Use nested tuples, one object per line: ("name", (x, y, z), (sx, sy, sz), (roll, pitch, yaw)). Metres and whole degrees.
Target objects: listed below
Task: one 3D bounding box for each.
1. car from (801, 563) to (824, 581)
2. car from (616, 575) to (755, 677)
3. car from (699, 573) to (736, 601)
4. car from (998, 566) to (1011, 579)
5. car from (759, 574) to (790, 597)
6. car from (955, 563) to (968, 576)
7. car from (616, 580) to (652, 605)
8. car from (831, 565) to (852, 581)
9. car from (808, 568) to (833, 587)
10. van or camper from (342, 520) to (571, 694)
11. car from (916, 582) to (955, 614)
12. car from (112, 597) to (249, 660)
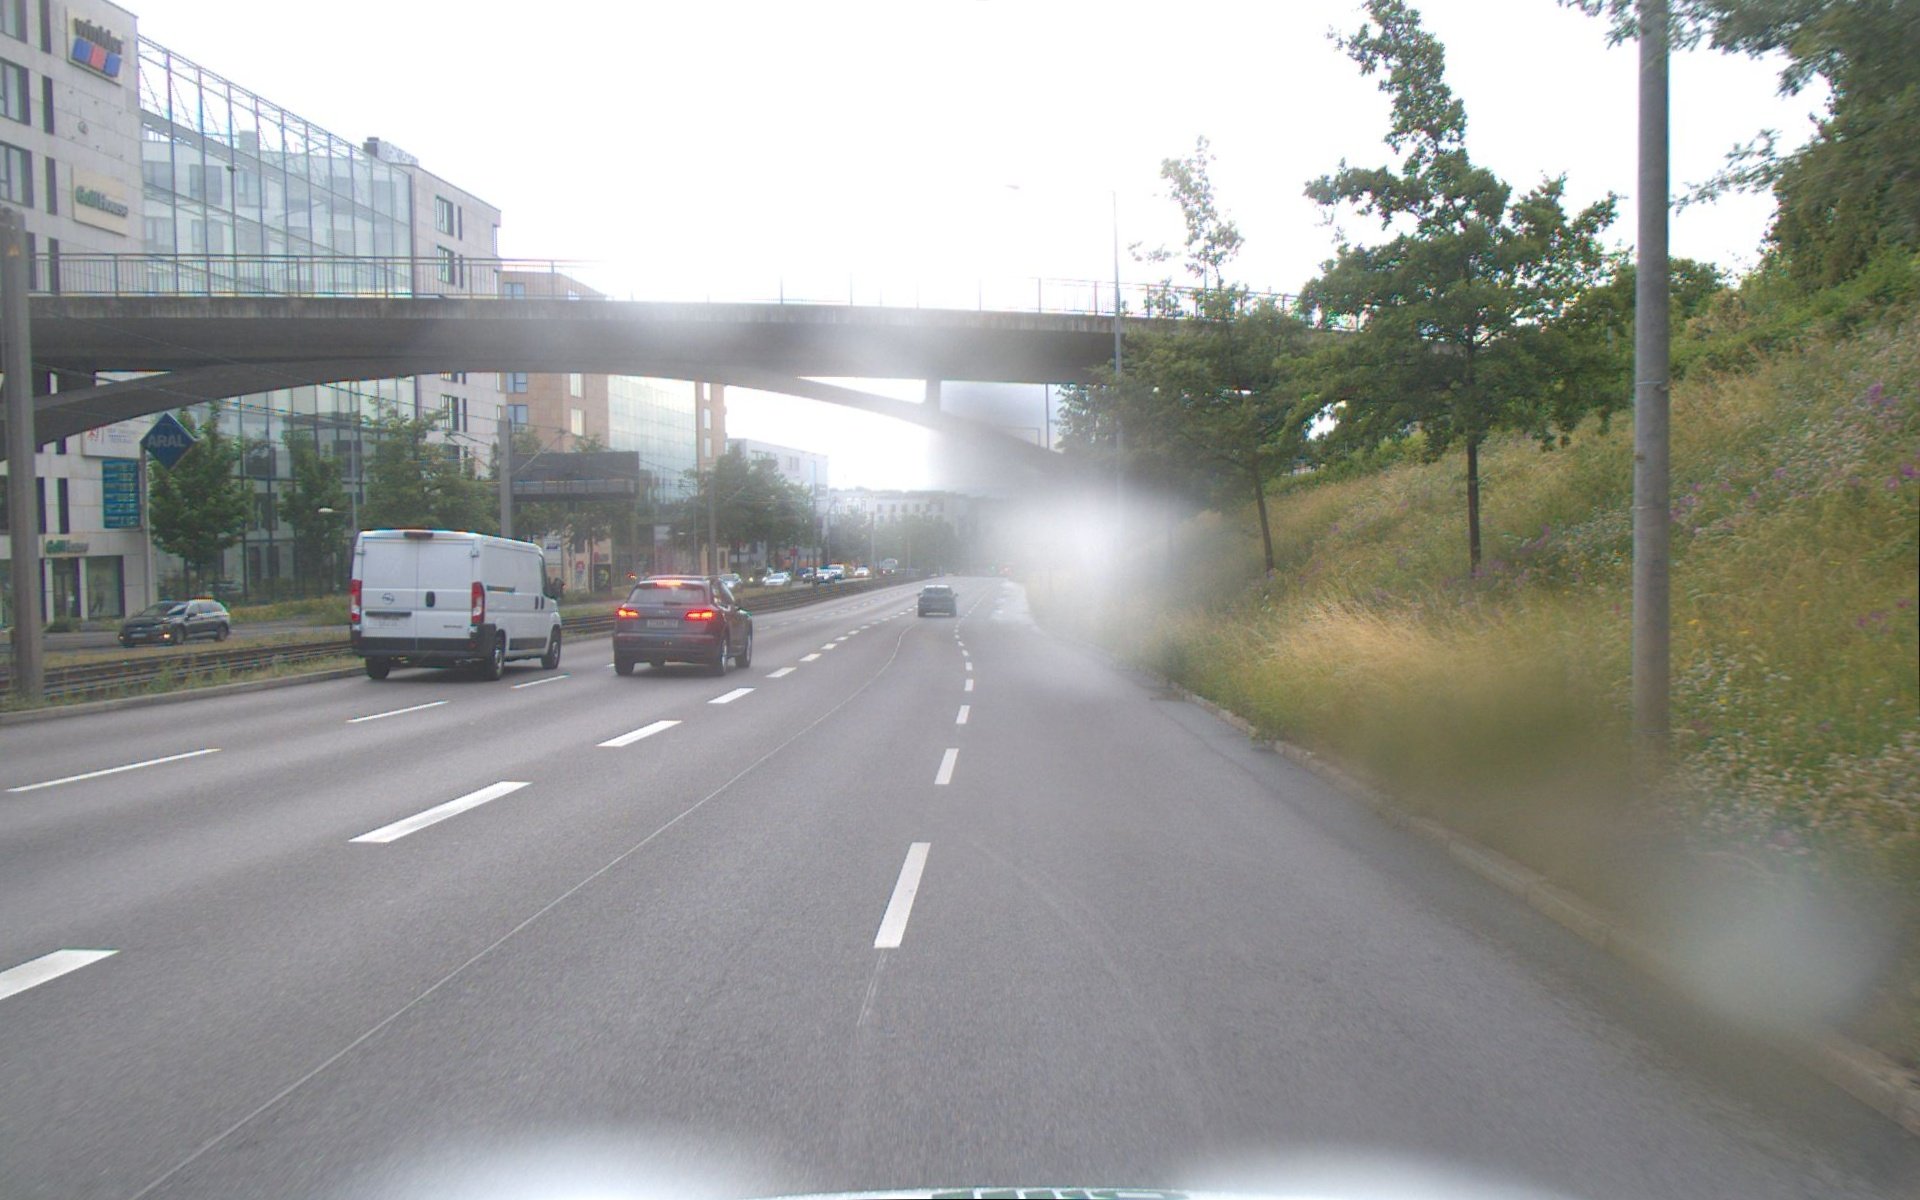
("car", (-16.426, -3.165, 184.792), (1.952, 1.765, 4.251), (1, 3, 3))
("car", (-4.724, 0.414, 29.064), (1.715, 1.645, 4.747), (0, 0, -1))
("car", (-17.645, -0.939, 120.640), (1.952, 2.049, 4.002), (0, 0, 3))
("car", (7.027, -4.373, 261.941), (1.825, 1.780, 4.000), (1, 3, -2))
("car", (-16.228, -1.285, 144.897), (1.952, 1.765, 4.251), (1, 3, 3))
("car", (0.154, -4.688, 252.194), (1.825, 1.780, 4.000), (1, 3, -2))
("car", (-26.574, -0.624, 134.941), (1.952, 2.049, 4.002), (0, 0, 3))
("car", (-14.551, -3.267, 203.129), (1.952, 1.765, 4.251), (1, 3, 3))
("car", (-14.347, -2.349, 170.624), (1.952, 1.765, 4.251), (1, 3, 3))
("van or camper", (-8.049, -0.023, 27.077), (2.159, 2.480, 5.532), (1, 3, -1))
("car", (-1.138, -0.107, 78.519), (1.712, 1.444, 3.479), (0, 2, 1))
("car", (-25.883, 0.899, 55.095), (1.951, 1.765, 4.253), (2, 3, 12))
